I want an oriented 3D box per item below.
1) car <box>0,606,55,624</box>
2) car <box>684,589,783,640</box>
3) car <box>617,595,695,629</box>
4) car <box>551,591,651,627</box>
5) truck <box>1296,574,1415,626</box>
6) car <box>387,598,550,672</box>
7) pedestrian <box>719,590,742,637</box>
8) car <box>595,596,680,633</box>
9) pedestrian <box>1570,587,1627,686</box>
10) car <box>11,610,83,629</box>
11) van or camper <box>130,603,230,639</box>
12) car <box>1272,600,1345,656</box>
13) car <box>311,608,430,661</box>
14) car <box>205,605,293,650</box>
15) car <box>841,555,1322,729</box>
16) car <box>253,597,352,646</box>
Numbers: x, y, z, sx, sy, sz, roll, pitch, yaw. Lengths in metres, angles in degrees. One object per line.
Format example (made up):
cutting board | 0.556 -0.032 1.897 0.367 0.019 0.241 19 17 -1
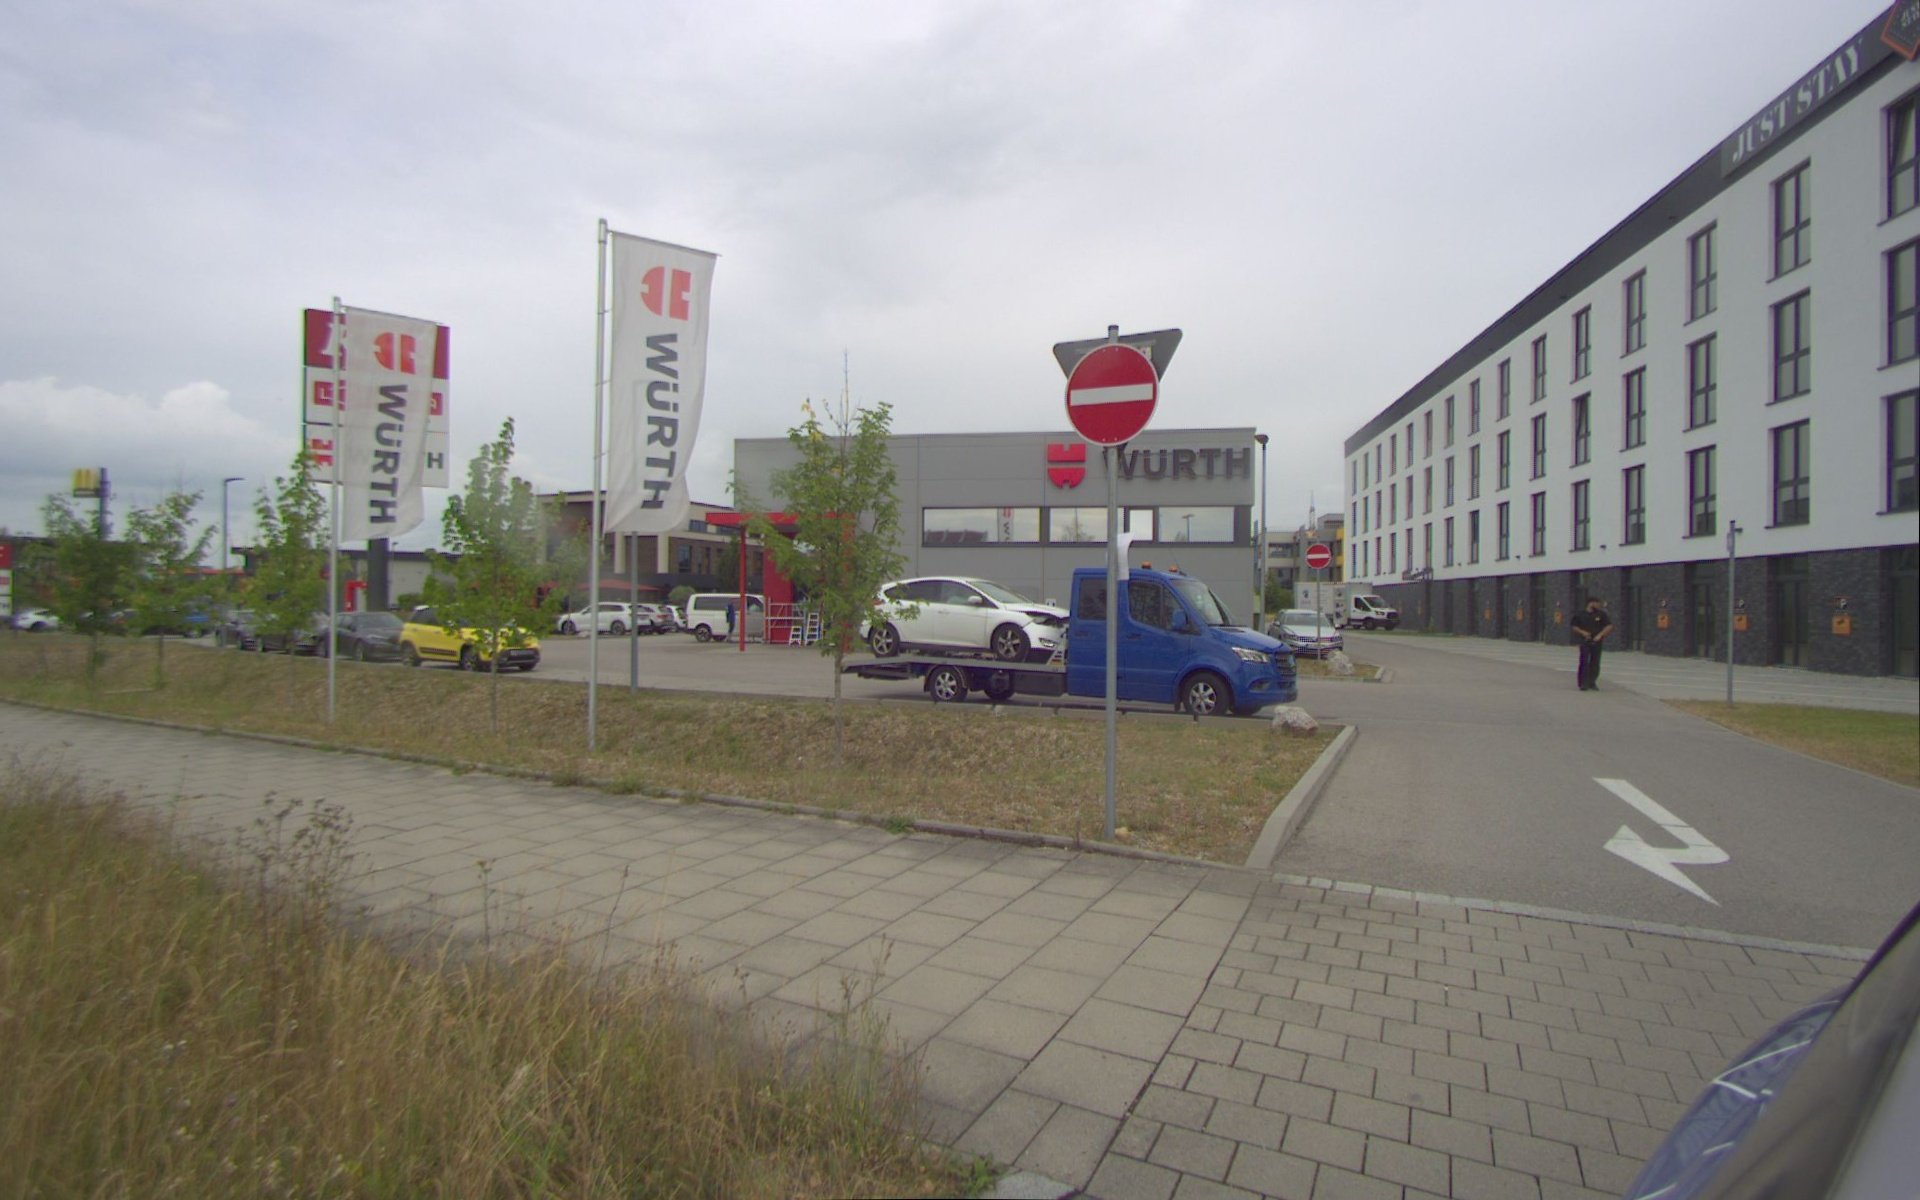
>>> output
car | -68.379 1.063 73.699 1.623 1.260 3.550 1 0 42
car | -9.297 0.565 41.603 3.619 2.004 1.670 0 0 13
car | -17.692 0.691 58.977 3.940 1.883 1.992 1 0 14
car | -18.421 0.439 51.943 4.671 1.770 1.751 0 0 14
truck | 24.409 -0.038 62.863 2.387 3.054 7.079 0 1 -28
car | -12.574 0.817 25.841 4.264 1.704 1.734 0 1 31
pedestrian | -9.095 0.530 40.163 0.649 1.830 0.647 1 0 14
car | -17.423 0.760 54.681 3.940 1.883 1.992 1 0 14
pedestrian | 12.195 0.675 19.350 0.700 1.845 0.809 1 0 17
car | -63.066 1.339 69.955 1.623 1.260 3.550 1 0 42
van or camper | -41.633 1.063 54.091 1.814 1.816 3.942 1 0 40
car | 10.867 0.814 31.803 1.955 1.510 4.743 3 1 17
car | -17.335 0.957 29.718 3.979 1.379 1.719 1 1 39
car | -26.302 0.975 37.410 3.981 1.517 1.692 1 1 40
car | 1.715 0.500 16.798 7.801 2.352 2.175 1 0 34
car | -21.986 0.668 33.790 3.981 1.517 1.692 1 1 40
